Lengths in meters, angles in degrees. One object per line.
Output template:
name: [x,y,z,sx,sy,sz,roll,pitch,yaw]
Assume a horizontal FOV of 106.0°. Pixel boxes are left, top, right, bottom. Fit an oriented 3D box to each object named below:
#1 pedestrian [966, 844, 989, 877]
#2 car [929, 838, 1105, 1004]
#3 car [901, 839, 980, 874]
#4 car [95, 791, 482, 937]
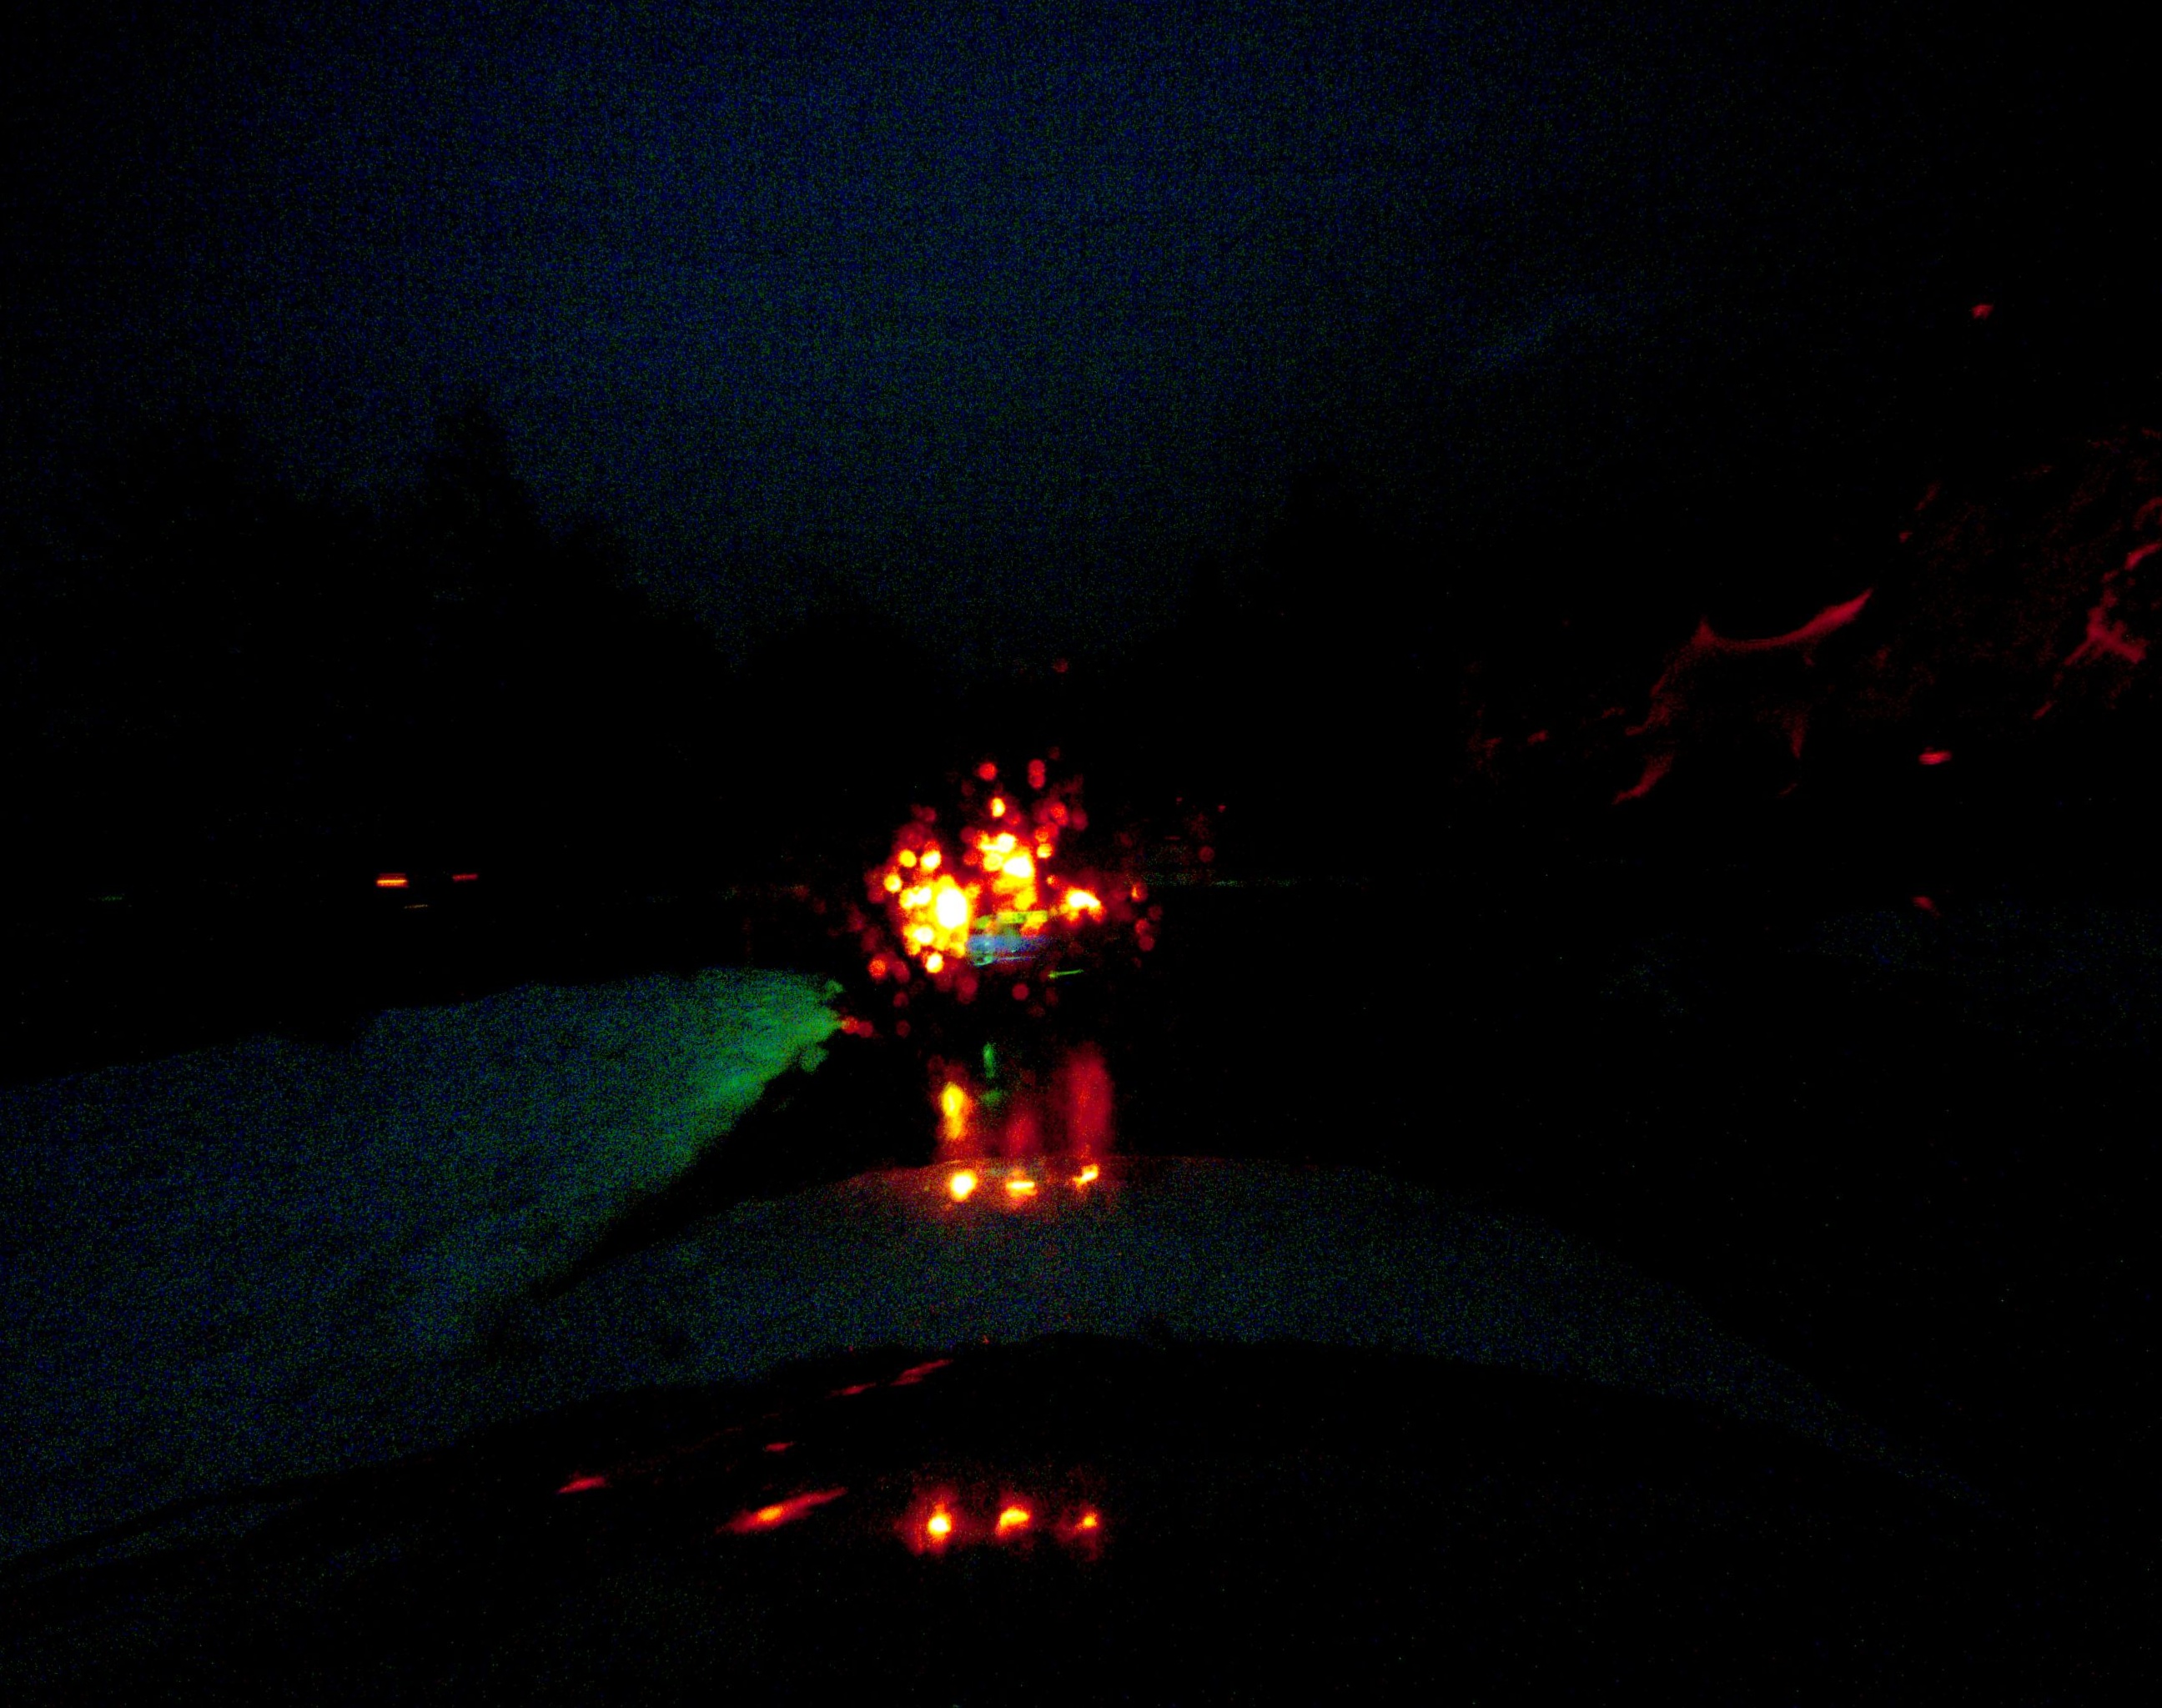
pedestrian: [-5.763,0.364,45.361,0.953,1.828,0.928,-1,-1,14]
car: [-0.949,0.619,9.754,1.693,1.552,3.841,-1,0,-11]
car: [-7.918,0.144,46.139,3.923,1.881,2.005,-1,-1,9]
car: [-15.502,0.192,16.214,5.493,2.696,2.152,0,-1,-1]
